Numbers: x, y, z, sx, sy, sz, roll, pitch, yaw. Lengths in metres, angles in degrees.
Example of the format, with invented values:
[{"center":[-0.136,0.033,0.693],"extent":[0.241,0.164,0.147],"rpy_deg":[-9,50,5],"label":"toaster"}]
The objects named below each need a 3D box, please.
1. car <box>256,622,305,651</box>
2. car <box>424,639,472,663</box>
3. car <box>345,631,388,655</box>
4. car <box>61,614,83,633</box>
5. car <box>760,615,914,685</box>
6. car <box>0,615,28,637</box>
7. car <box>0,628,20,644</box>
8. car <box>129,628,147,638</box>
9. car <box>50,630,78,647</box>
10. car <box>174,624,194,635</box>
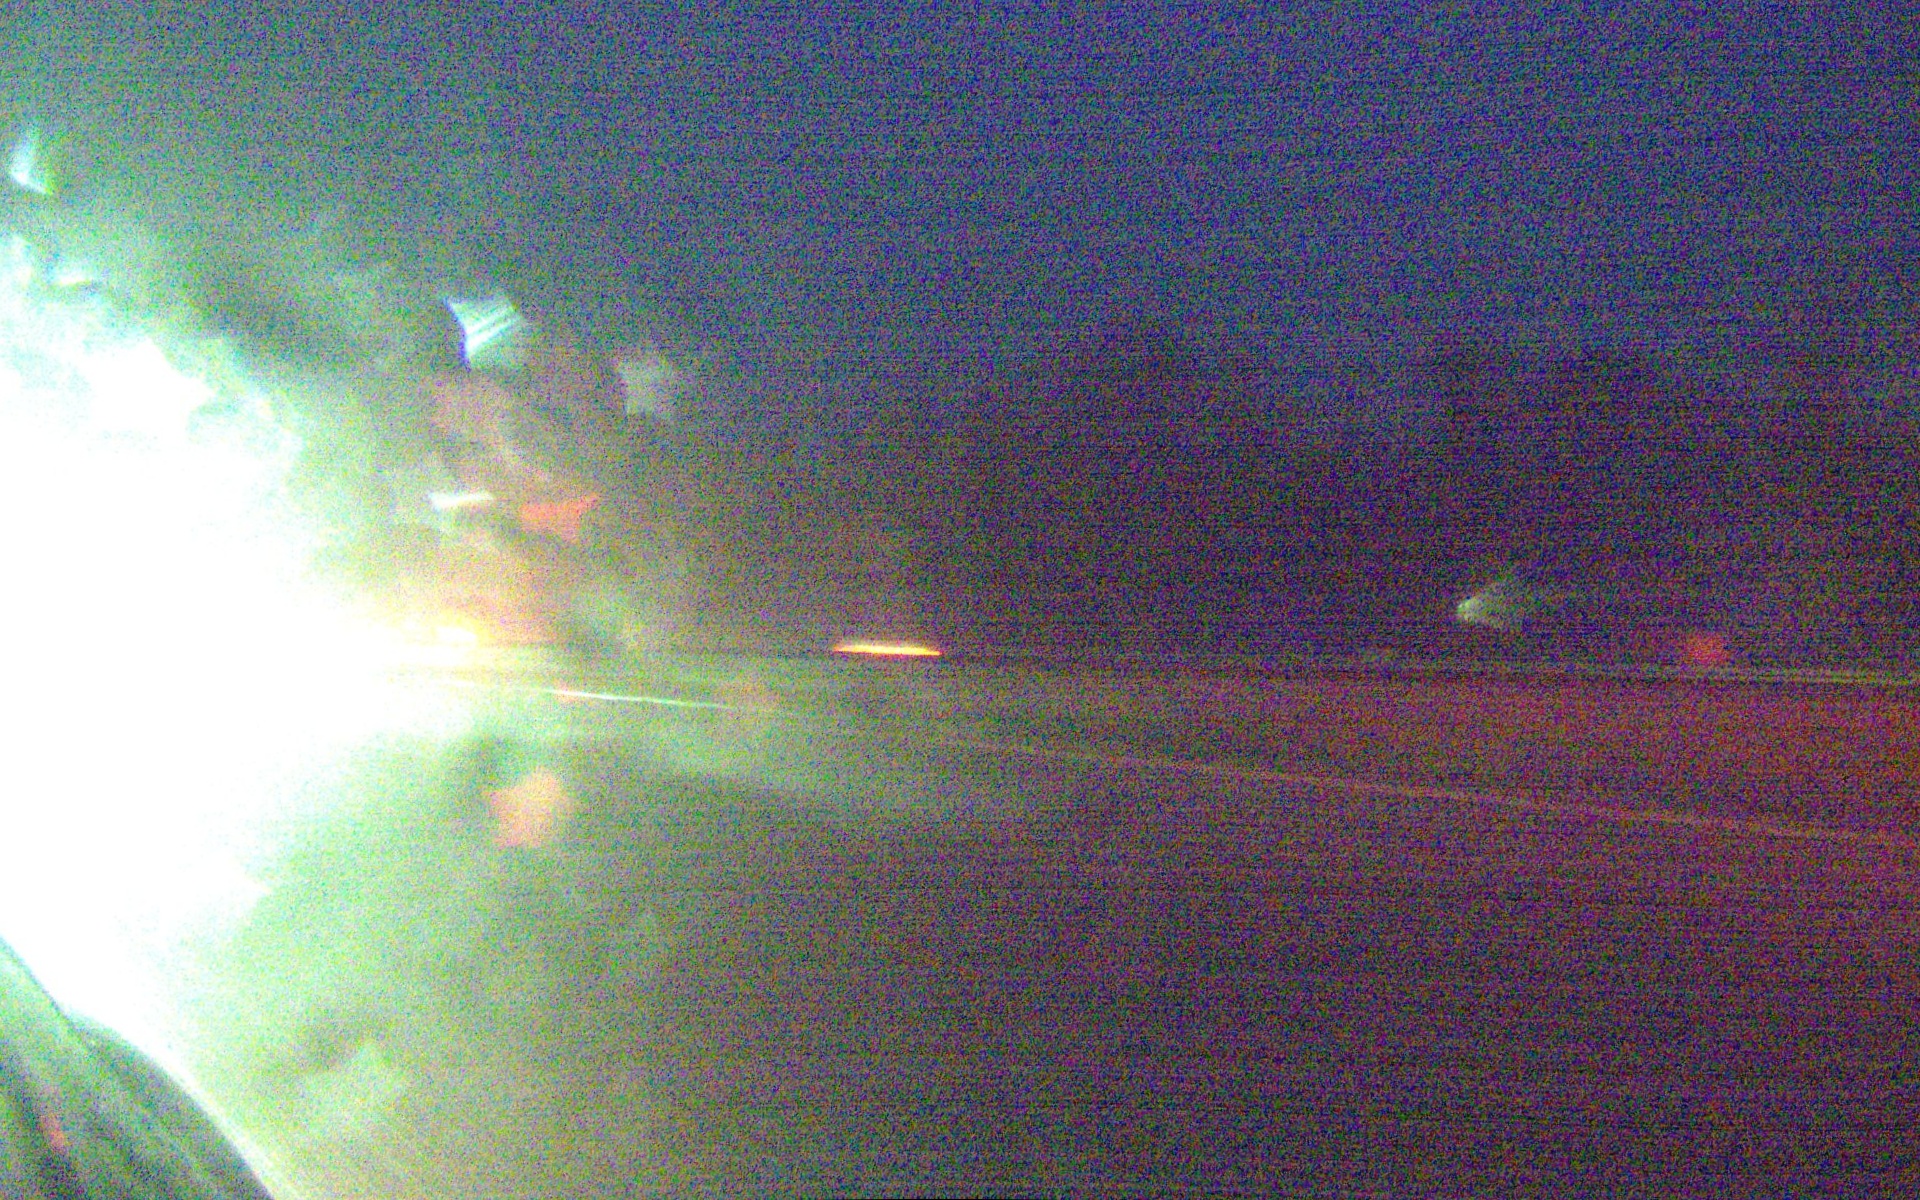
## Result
[{"center":[-47.667,2.539,70.969],"extent":[4.142,1.920,1.888],"rpy_deg":[-1,0,41],"label":"car"},{"center":[-35.016,3.472,69.163],"extent":[3.765,1.514,1.666],"rpy_deg":[-1,0,41],"label":"car"},{"center":[-47.651,3.421,81.240],"extent":[3.812,1.724,1.850],"rpy_deg":[-1,0,41],"label":"car"},{"center":[-142.377,3.717,162.222],"extent":[4.718,2.915,2.132],"rpy_deg":[-1,0,42],"label":"car"},{"center":[-3.466,1.313,28.078],"extent":[4.392,1.767,1.702],"rpy_deg":[-1,0,39],"label":"car"},{"center":[-142.409,3.861,152.199],"extent":[6.320,3.229,2.679],"rpy_deg":[-1,0,42],"label":"car"},{"center":[-118.421,4.470,126.001],"extent":[3.999,1.789,1.722],"rpy_deg":[-1,0,42],"label":"car"},{"center":[-138.000,5.547,169.900],"extent":[3.998,1.702,1.794],"rpy_deg":[-1,0,41],"label":"car"},{"center":[-88.375,3.754,99.841],"extent":[3.523,1.557,1.700],"rpy_deg":[-1,0,42],"label":"car"},{"center":[-132.078,5.063,172.253],"extent":[4.173,1.802,1.870],"rpy_deg":[-1,0,42],"label":"car"}]
